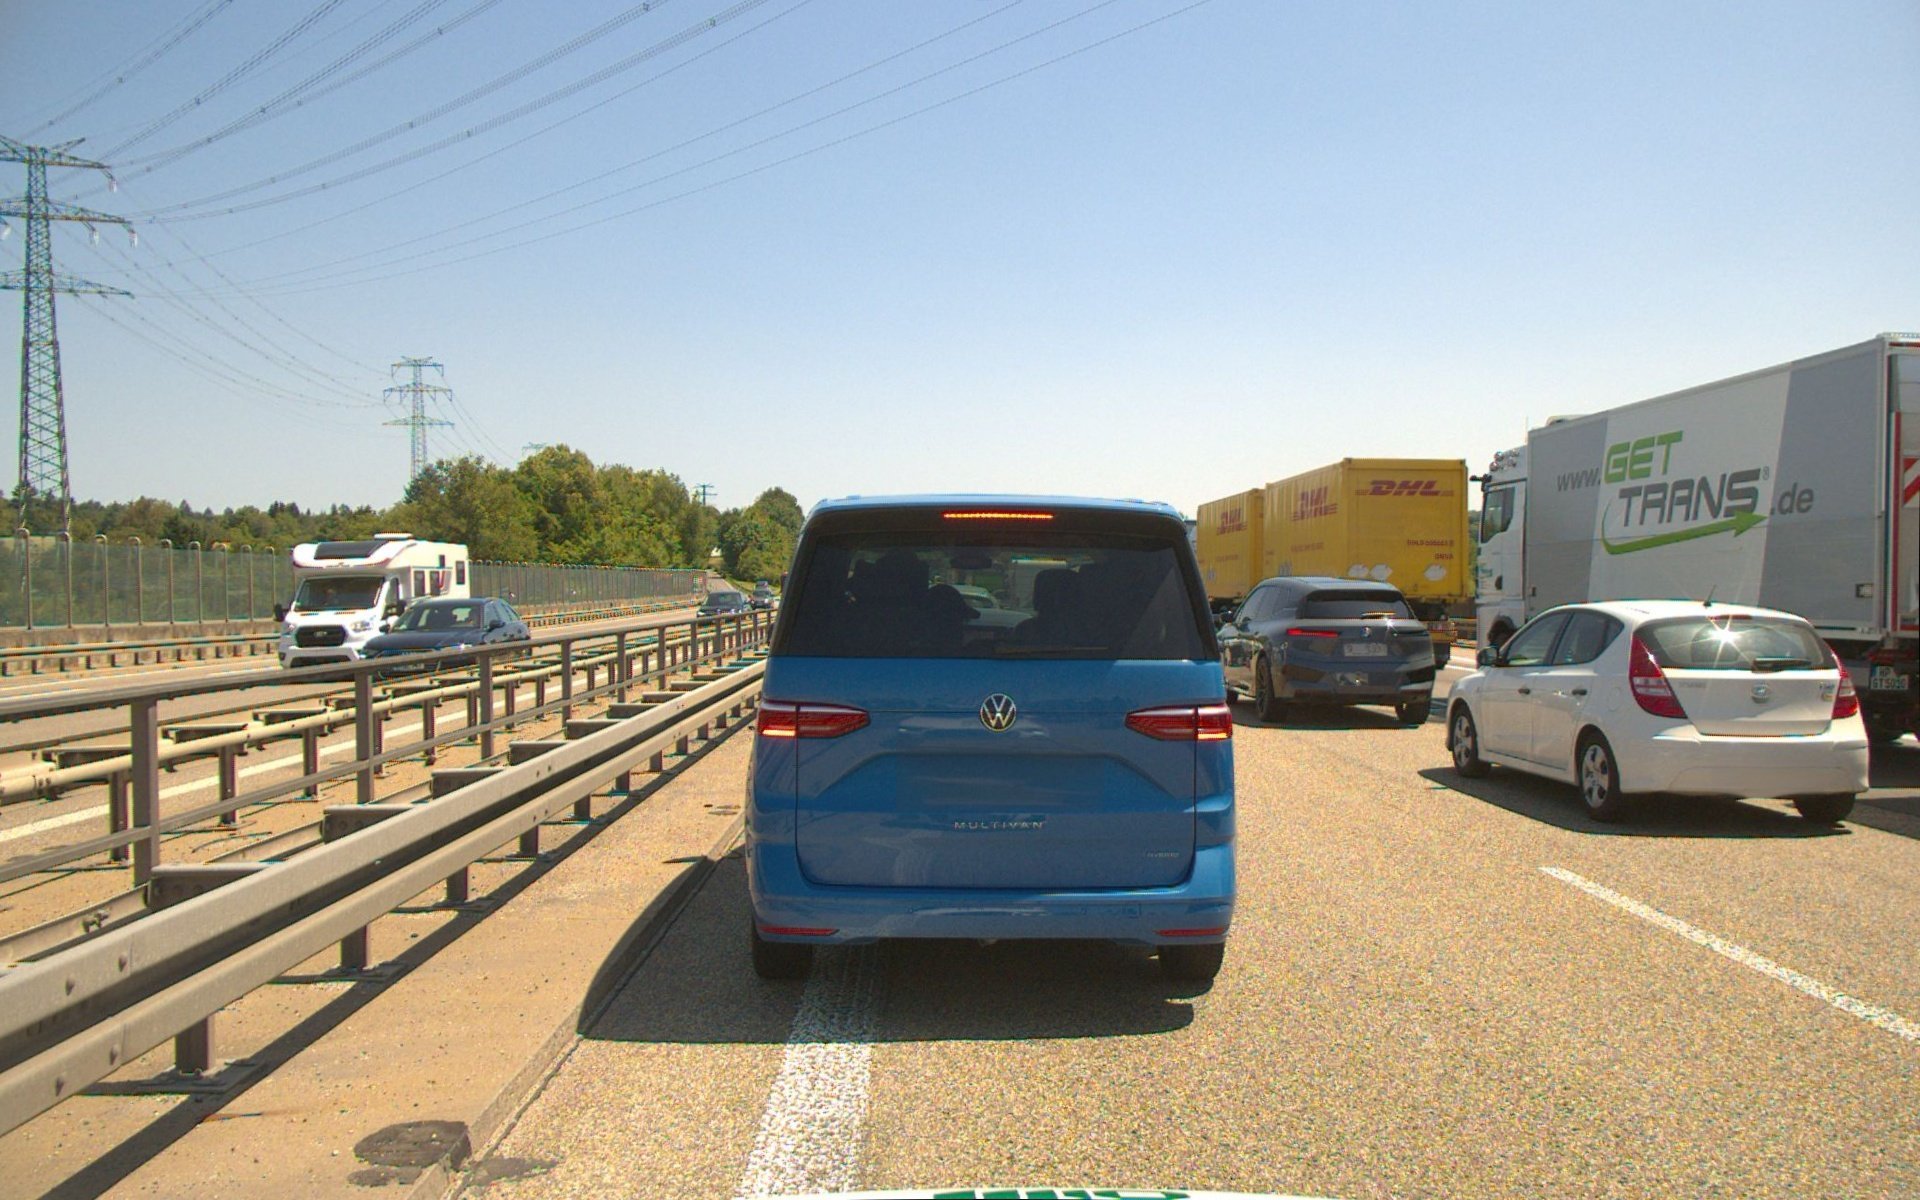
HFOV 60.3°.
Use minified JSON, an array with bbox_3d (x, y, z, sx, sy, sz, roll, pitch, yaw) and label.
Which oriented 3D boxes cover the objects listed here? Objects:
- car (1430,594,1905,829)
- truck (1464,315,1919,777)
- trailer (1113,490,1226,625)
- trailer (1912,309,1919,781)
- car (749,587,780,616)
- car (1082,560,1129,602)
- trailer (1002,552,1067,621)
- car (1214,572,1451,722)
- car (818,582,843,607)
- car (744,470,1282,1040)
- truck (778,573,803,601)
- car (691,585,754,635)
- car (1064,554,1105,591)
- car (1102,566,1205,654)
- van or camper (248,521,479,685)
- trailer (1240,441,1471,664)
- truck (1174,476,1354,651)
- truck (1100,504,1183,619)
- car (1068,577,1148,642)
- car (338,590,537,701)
[{"bbox_3d":[5.120,0.700,12.682,1.752,1.481,4.292,0,0,-1],"label":"car"},{"bbox_3d":[8.830,-0.470,18.840,2.603,3.711,11.007,0,0,-1],"label":"truck"},{"bbox_3d":[7.718,-1.512,62.459,2.583,4.595,11.299,1,0,-1],"label":"trailer"},{"bbox_3d":[9.069,-0.414,9.345,2.643,3.765,8.012,0,0,-1],"label":"trailer"},{"bbox_3d":[-15.641,0.099,132.284,1.953,2.254,4.267,-3,0,-1],"label":"car"},{"bbox_3d":[7.248,-0.932,82.797,1.953,2.049,3.999,1,0,-1],"label":"car"},{"bbox_3d":[3.462,-0.597,79.497,2.517,3.042,10.661,1,0,-1],"label":"trailer"},{"bbox_3d":[4.497,0.513,20.632,1.922,1.673,4.292,0,0,-1],"label":"car"},{"bbox_3d":[-11.654,-0.491,148.766,1.825,2.168,4.268,-3,0,0],"label":"car"},{"bbox_3d":[0.154,0.520,7.591,1.783,1.890,4.074,1,0,-1],"label":"car"},{"bbox_3d":[-21.222,-1.595,207.477,2.447,3.424,5.833,-2,0,-1],"label":"truck"},{"bbox_3d":[-9.284,0.353,64.910,1.830,1.729,4.429,-4,1,-1],"label":"car"},{"bbox_3d":[7.257,-1.584,96.826,1.953,2.049,4.460,-1,0,-1],"label":"car"},{"bbox_3d":[4.631,0.210,40.121,1.922,2.028,4.292,0,0,-1],"label":"car"},{"bbox_3d":[-12.533,0.033,35.424,2.373,3.076,7.025,-2,0,-1],"label":"van or camper"},{"bbox_3d":[8.501,-0.920,36.815,2.806,4.313,9.009,1,0,-1],"label":"trailer"},{"bbox_3d":[8.314,-0.923,46.814,2.778,4.317,11.007,1,0,-1],"label":"truck"},{"bbox_3d":[7.570,-1.534,69.668,2.613,4.562,6.848,1,0,-1],"label":"truck"},{"bbox_3d":[4.363,0.265,49.202,1.953,1.847,3.999,0,0,-1],"label":"car"},{"bbox_3d":[-8.440,0.670,27.143,1.830,1.558,4.424,-4,0,-1],"label":"car"}]
